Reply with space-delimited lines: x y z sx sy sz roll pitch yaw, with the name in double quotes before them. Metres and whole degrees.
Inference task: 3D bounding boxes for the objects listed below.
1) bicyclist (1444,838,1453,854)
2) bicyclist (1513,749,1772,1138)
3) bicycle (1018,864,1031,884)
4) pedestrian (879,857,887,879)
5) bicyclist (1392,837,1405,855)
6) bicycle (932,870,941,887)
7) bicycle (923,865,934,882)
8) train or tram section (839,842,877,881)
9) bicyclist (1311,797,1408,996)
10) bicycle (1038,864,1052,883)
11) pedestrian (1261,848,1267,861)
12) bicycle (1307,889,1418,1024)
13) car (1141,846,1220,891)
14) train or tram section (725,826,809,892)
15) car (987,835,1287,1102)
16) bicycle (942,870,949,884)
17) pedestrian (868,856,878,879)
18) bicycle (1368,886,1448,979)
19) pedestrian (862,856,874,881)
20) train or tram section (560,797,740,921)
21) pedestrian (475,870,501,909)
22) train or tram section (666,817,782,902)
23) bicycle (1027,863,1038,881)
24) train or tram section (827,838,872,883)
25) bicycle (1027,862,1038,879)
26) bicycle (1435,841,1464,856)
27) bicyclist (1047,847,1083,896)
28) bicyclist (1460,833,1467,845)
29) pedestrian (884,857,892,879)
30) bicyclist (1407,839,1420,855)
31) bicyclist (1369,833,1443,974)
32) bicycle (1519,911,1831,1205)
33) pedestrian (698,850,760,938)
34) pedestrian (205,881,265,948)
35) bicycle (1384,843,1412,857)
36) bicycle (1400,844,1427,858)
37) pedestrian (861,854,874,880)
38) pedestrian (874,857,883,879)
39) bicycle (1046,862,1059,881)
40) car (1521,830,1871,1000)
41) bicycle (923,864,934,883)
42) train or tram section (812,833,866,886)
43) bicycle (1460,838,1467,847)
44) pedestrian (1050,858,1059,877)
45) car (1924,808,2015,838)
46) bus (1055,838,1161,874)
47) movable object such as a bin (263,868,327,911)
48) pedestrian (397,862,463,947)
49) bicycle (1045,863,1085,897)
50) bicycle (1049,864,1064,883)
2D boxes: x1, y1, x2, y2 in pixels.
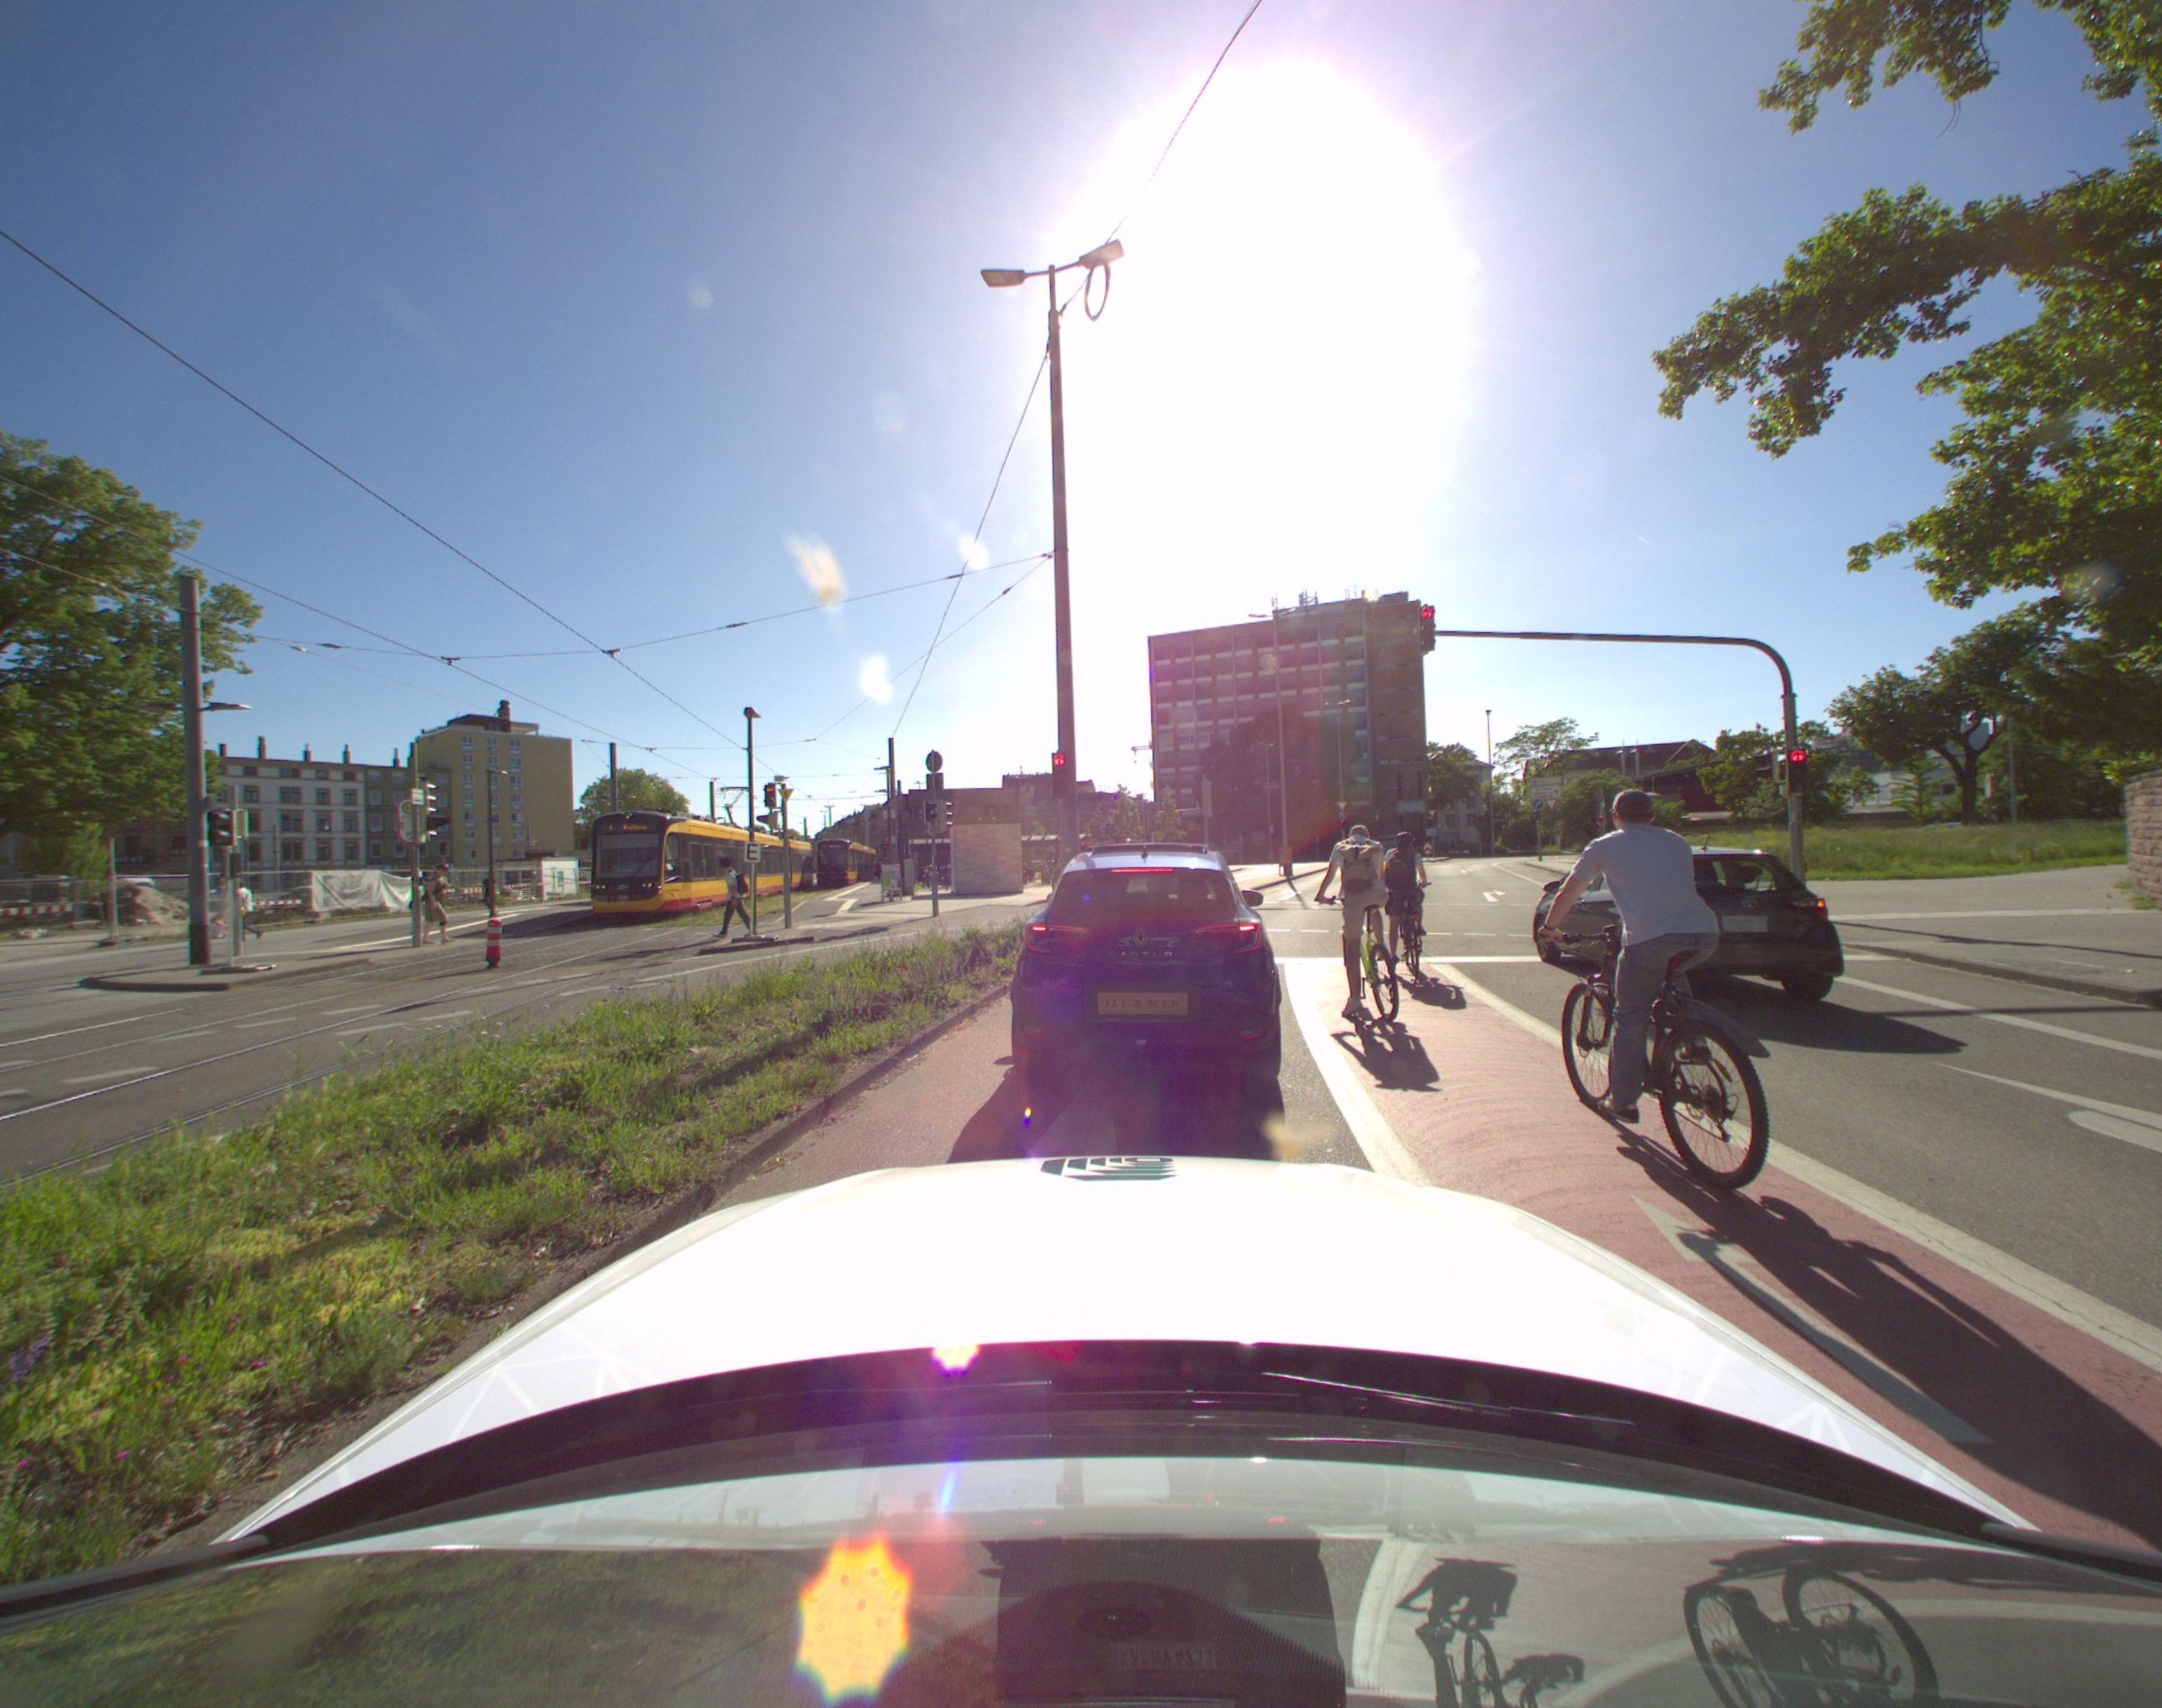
"bicyclist" 40.094 -0.845 88.899 0.850 1.692 0.889 -2 -2 27
"bicyclist" 2.867 0.415 4.288 0.744 1.776 1.017 -2 -1 12
"bicycle" -2.962 1.057 42.886 0.580 1.058 1.812 -1 -1 -7
"pedestrian" -16.878 1.222 69.515 0.634 1.857 0.699 0 -2 -17
"bicyclist" 34.869 -0.861 89.517 1.195 1.897 0.889 -2 -2 27
"bicycle" -8.531 1.446 47.990 0.422 0.938 1.300 0 -1 -13
"bicycle" -9.849 1.279 52.616 0.565 1.093 2.023 -1 -1 -9
"train or tram section" -21.879 0.717 80.364 2.873 3.508 10.499 -1 0 -12
"bicyclist" 2.601 0.376 7.702 0.660 1.747 1.008 -2 0 9
"bicycle" -1.933 1.047 43.237 0.580 0.961 2.053 -1 -1 -7
"pedestrian" 22.700 0.088 100.978 0.555 1.670 0.479 -2 -2 39
"bicycle" 2.635 0.906 7.811 0.659 1.047 1.895 -2 0 9
"car" 3.774 0.493 30.334 1.784 1.393 4.116 -2 1 23
"train or tram section" -18.916 0.308 49.844 2.818 3.508 11.166 -1 0 -11
"car" 0.567 0.692 6.803 1.813 1.600 3.666 -1 0 8
"bicycle" -8.806 1.492 53.022 0.421 0.938 1.374 0 -1 -9
"pedestrian" -17.042 1.086 66.647 0.673 1.857 0.701 -1 -2 -7
"bicycle" 4.012 0.917 10.120 0.717 0.960 1.892 -1 0 16
"pedestrian" -16.167 1.128 61.866 0.848 1.883 0.757 -1 -2 -14
"train or tram section" -14.689 0.182 28.885 2.820 3.508 10.433 -2 0 -12
"pedestrian" -28.002 1.671 38.439 0.668 1.767 0.796 -2 0 -13
"train or tram section" -16.809 0.272 39.213 2.818 3.508 10.569 -1 0 -11
"bicycle" -2.919 1.084 48.924 0.580 1.088 2.053 -1 -1 -7
"train or tram section" -19.756 0.536 70.019 2.873 3.508 10.499 -1 0 -12
"bicycle" -3.350 1.146 56.414 0.580 1.088 1.865 -1 -1 -9
"bicycle" 40.172 -0.565 88.841 2.775 1.541 0.889 -2 -2 27
"bicyclist" -0.545 0.607 28.236 0.873 1.644 1.065 -3 -1 16
"bicyclist" 47.958 -1.861 102.127 0.612 1.444 0.824 -2 0 32
"pedestrian" -16.933 1.220 71.492 0.632 1.857 0.700 -1 -2 -9
"bicyclist" 37.754 -0.756 92.483 1.148 1.797 0.888 -1 -2 17
"bicyclist" 3.971 0.570 10.014 0.716 1.626 1.059 -1 0 16
"bicycle" 2.945 0.903 4.291 0.607 1.077 1.836 -2 0 12
"pedestrian" -7.742 0.870 17.951 1.018 1.832 0.757 -4 -1 -14
"pedestrian" -23.494 1.650 22.629 0.978 1.767 0.855 -2 0 -36
"bicycle" 34.873 -0.435 89.521 2.775 1.541 0.889 -2 -2 27
"bicycle" 37.759 -0.320 92.478 2.780 1.541 0.888 -1 -2 16
"pedestrian" -15.923 0.978 60.722 0.848 1.883 0.757 -1 -2 -14
"pedestrian" -17.898 1.250 72.040 0.631 1.857 0.701 -1 -2 -7
"bicycle" -1.712 1.064 48.967 0.580 1.088 2.053 -1 -1 -7
"car" 6.609 0.569 9.317 1.745 1.541 3.670 -1 0 11
"bicycle" -8.662 1.110 46.276 0.565 1.093 2.023 -1 -1 -9
"train or tram section" -17.596 0.424 59.736 2.873 3.508 10.499 -1 0 -12
"bicycle" 47.980 -1.459 102.135 0.603 1.093 1.682 -3 0 32
"pedestrian" -2.553 1.293 79.938 0.721 1.857 0.705 -1 -2 10
"car" 68.366 -2.345 62.756 4.305 2.014 2.013 -2 -2 33
"bus" 2.643 0.294 86.896 12.287 3.396 2.900 -2 -2 42
"movable object such as a bin" -53.457 2.404 55.382 3.950 2.796 1.844 -2 -2 26
"pedestrian" -14.893 1.133 18.657 0.902 1.850 0.759 -2 2 -20
"bicycle" -0.529 0.892 28.182 0.767 1.080 2.044 -3 -1 16
"bicycle" -1.320 1.038 43.310 0.580 0.961 2.053 -1 -1 -7
